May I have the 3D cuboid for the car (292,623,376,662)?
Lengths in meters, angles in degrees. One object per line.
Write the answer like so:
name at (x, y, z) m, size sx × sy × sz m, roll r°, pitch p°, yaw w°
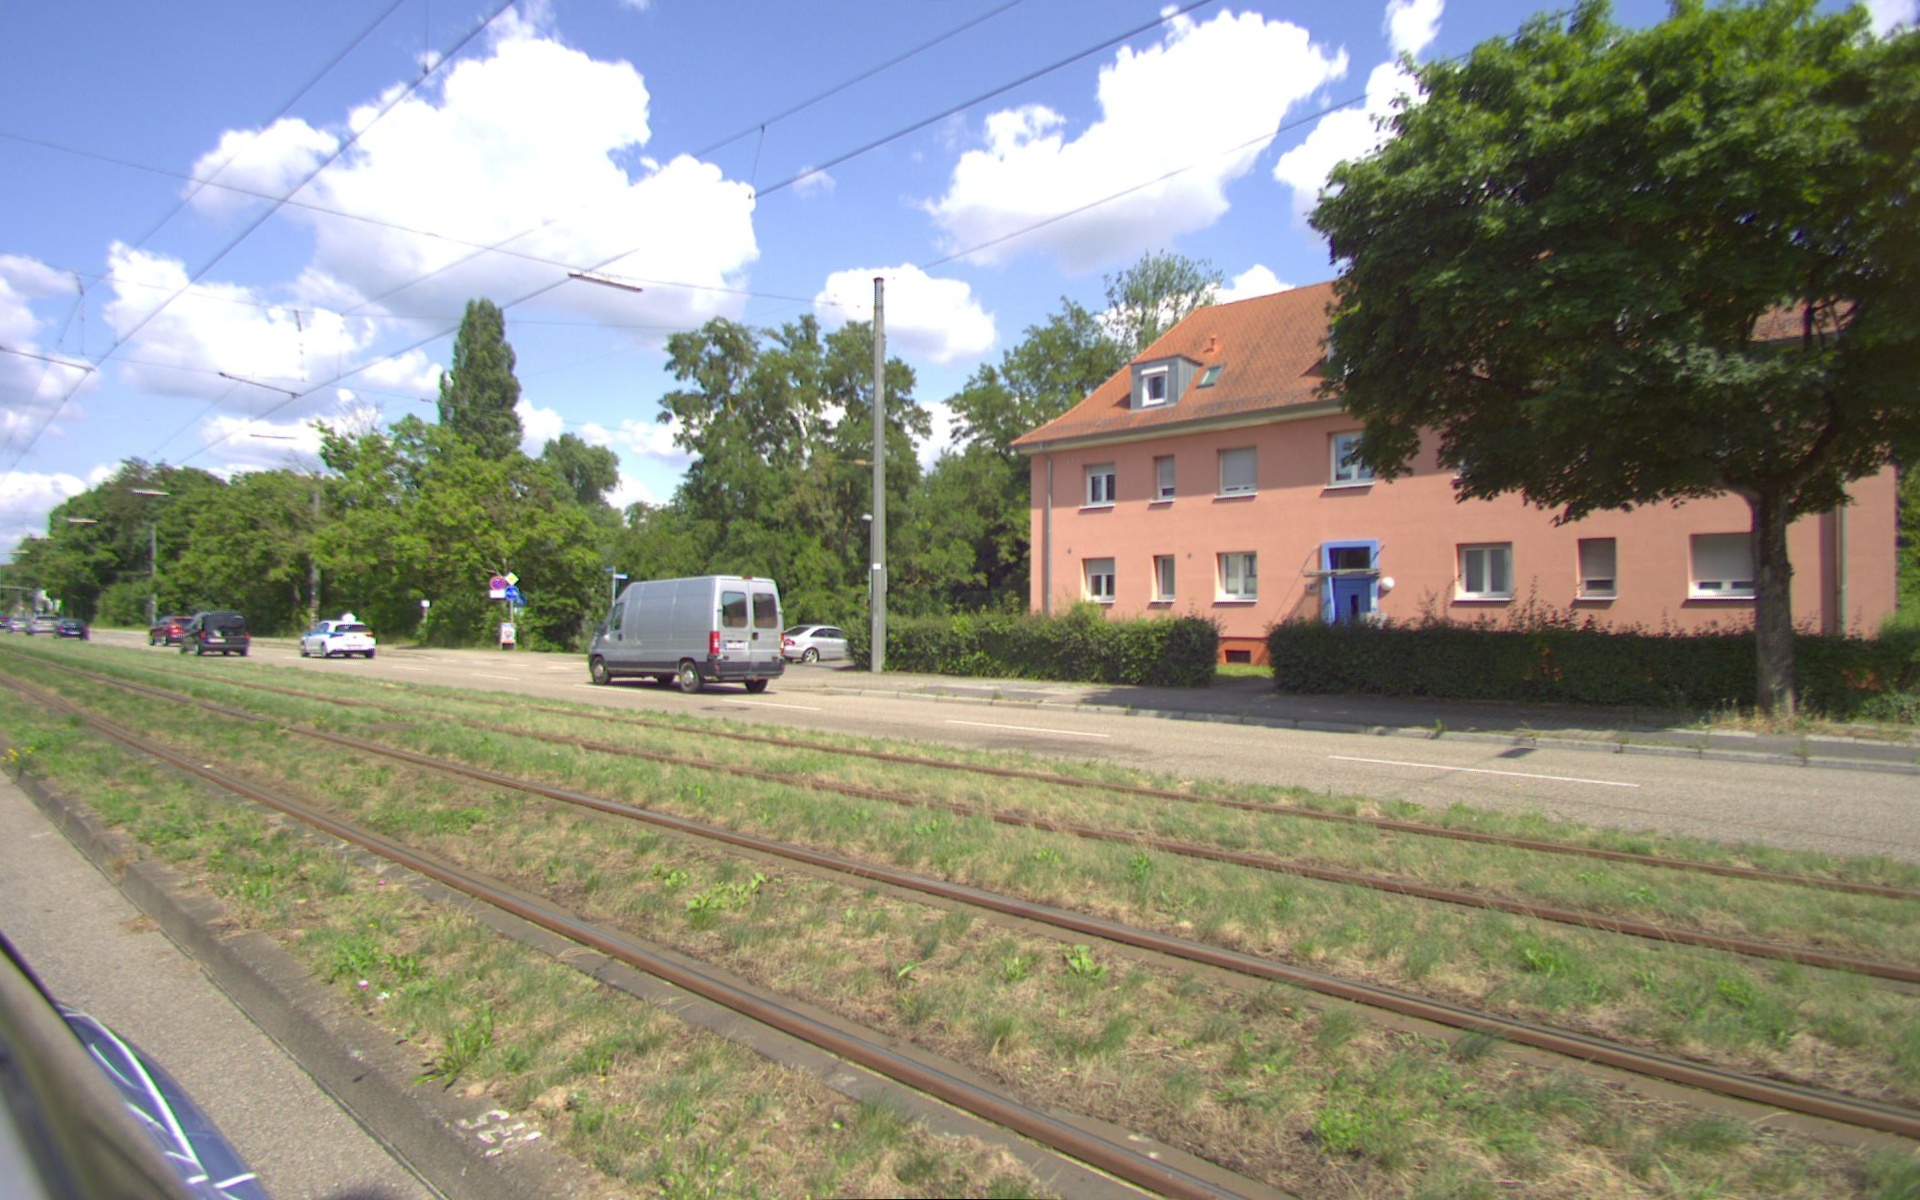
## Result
car at (-24.659, 1.622, 39.792) m, size 4.275 × 1.442 × 1.667 m, roll -1°, pitch -2°, yaw 42°

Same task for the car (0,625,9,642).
car at (-99.113, 3.439, 103.704) m, size 4.276 × 1.664 × 2.093 m, roll -1°, pitch -2°, yaw 43°

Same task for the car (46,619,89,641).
car at (-58.732, 1.946, 66.585) m, size 4.276 × 1.405 × 1.708 m, roll -1°, pitch -2°, yaw 43°

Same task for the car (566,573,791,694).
car at (-6.559, 0.753, 23.168) m, size 5.773 × 2.455 × 2.011 m, roll -1°, pitch -3°, yaw 40°

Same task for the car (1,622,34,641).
car at (-85.328, 2.791, 91.584) m, size 4.276 × 1.664 × 1.896 m, roll -1°, pitch -2°, yaw 43°

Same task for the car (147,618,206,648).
car at (-42.578, 1.756, 54.962) m, size 4.274 × 1.591 × 1.709 m, roll -1°, pitch -2°, yaw 41°

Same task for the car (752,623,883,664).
car at (-5.206, 1.562, 37.259) m, size 4.402 × 1.416 × 2.003 m, roll 1°, pitch -2°, yaw -41°

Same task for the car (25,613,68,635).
car at (-71.227, 1.862, 78.907) m, size 4.276 × 1.664 × 2.093 m, roll -1°, pitch -2°, yaw 43°

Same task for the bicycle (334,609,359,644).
bicycle at (-30.584, 1.310, 50.438) m, size 0.952 × 1.697 × 0.790 m, roll -1°, pitch -2°, yaw 42°

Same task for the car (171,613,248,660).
car at (-29.900, 1.419, 40.280) m, size 4.226 × 1.760 × 1.667 m, roll -1°, pitch -2°, yaw 42°
